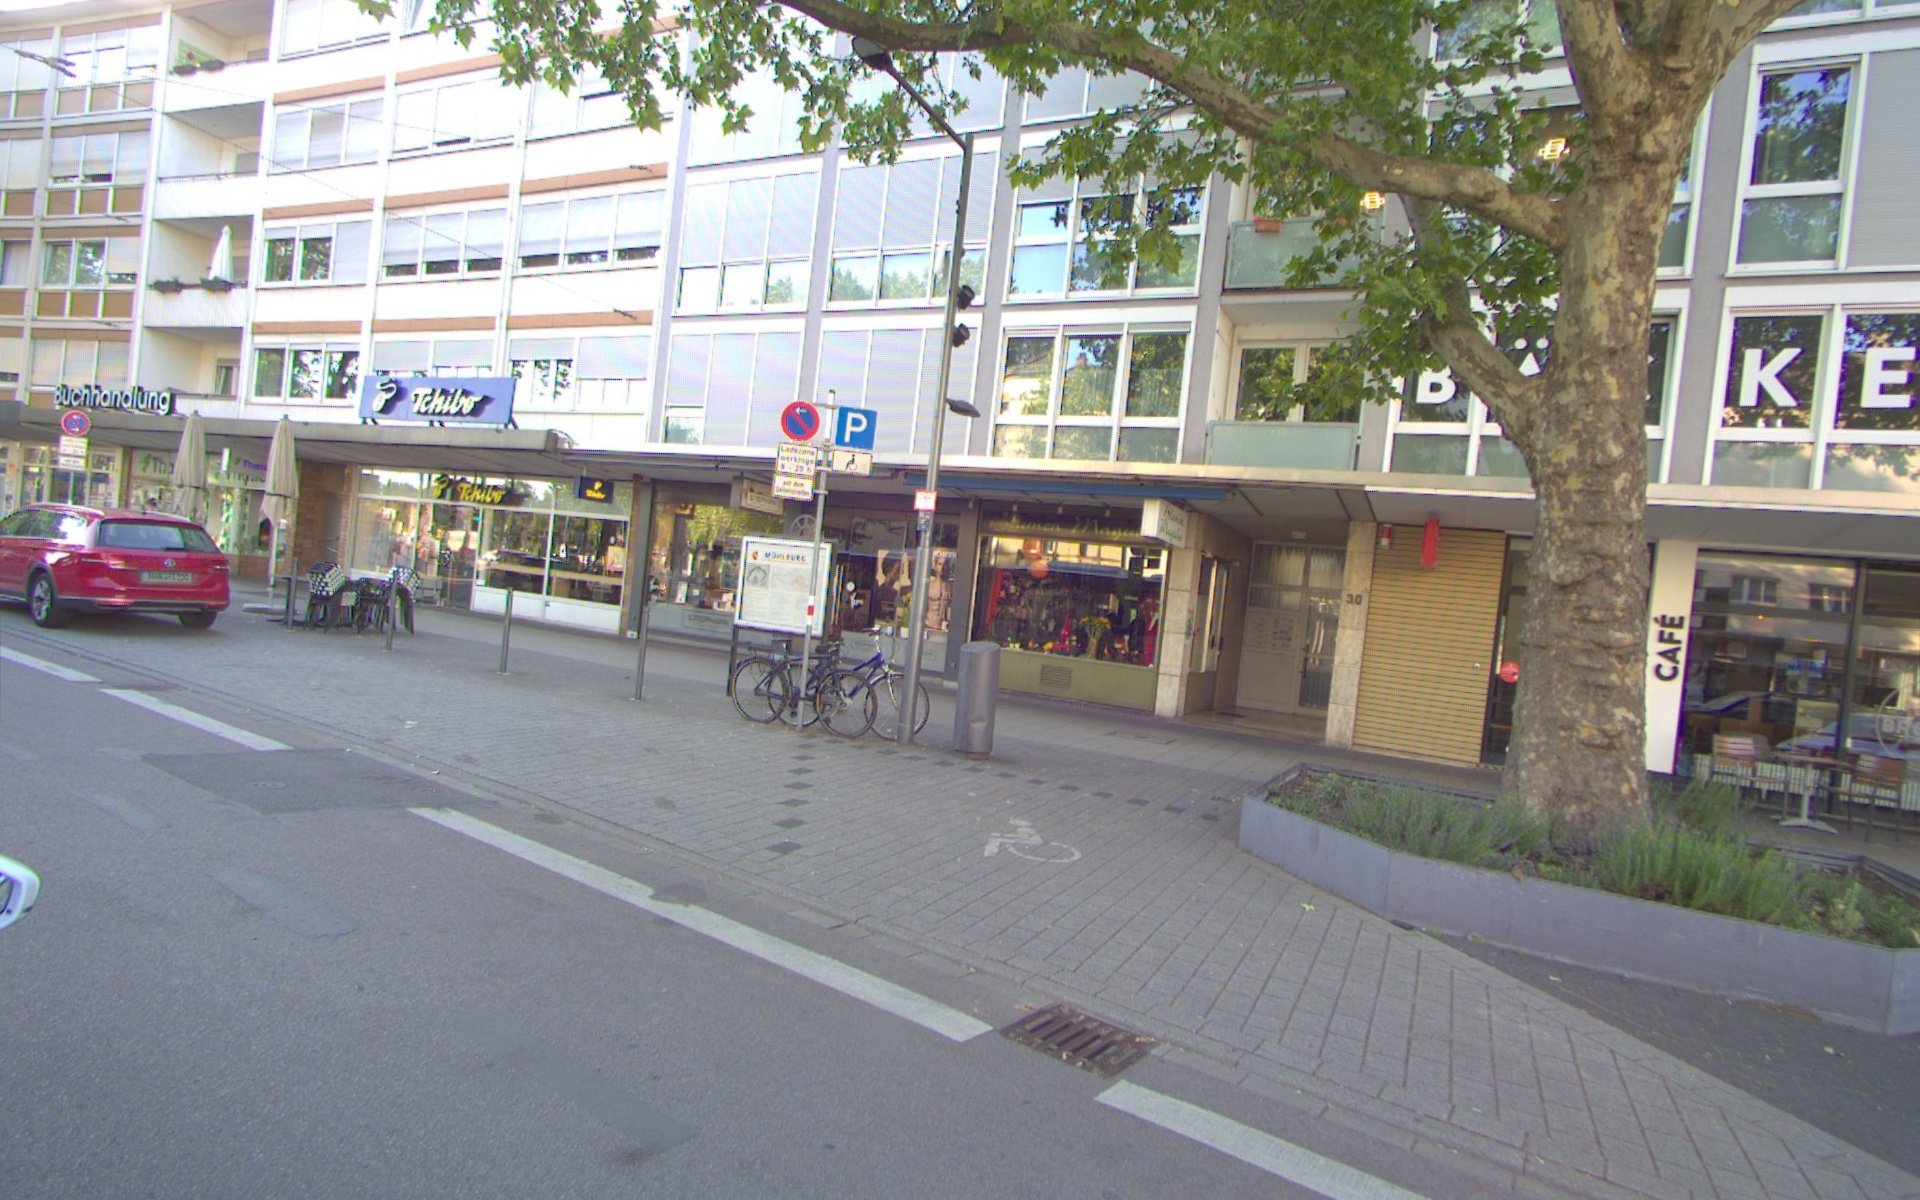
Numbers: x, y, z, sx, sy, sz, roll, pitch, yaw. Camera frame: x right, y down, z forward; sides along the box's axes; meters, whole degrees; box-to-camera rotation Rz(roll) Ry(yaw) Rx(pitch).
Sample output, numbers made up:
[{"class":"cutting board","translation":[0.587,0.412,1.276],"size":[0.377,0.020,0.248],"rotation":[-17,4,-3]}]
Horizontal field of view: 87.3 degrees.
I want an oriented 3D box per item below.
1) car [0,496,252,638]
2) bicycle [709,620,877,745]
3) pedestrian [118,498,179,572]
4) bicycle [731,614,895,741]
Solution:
[{"class":"car","translation":[-11.745,-0.506,13.495],"size":[4.488,1.516,1.780],"rotation":[6,2,28]},{"class":"bicycle","translation":[-1.742,0.835,10.414],"size":[1.686,1.055,0.294],"rotation":[6,4,17]},{"class":"pedestrian","translation":[-18.660,-1.497,23.143],"size":[0.792,1.571,0.641],"rotation":[6,1,17]},{"class":"bicycle","translation":[-1.567,0.799,10.655],"size":[1.686,1.116,0.294],"rotation":[6,4,17]}]
